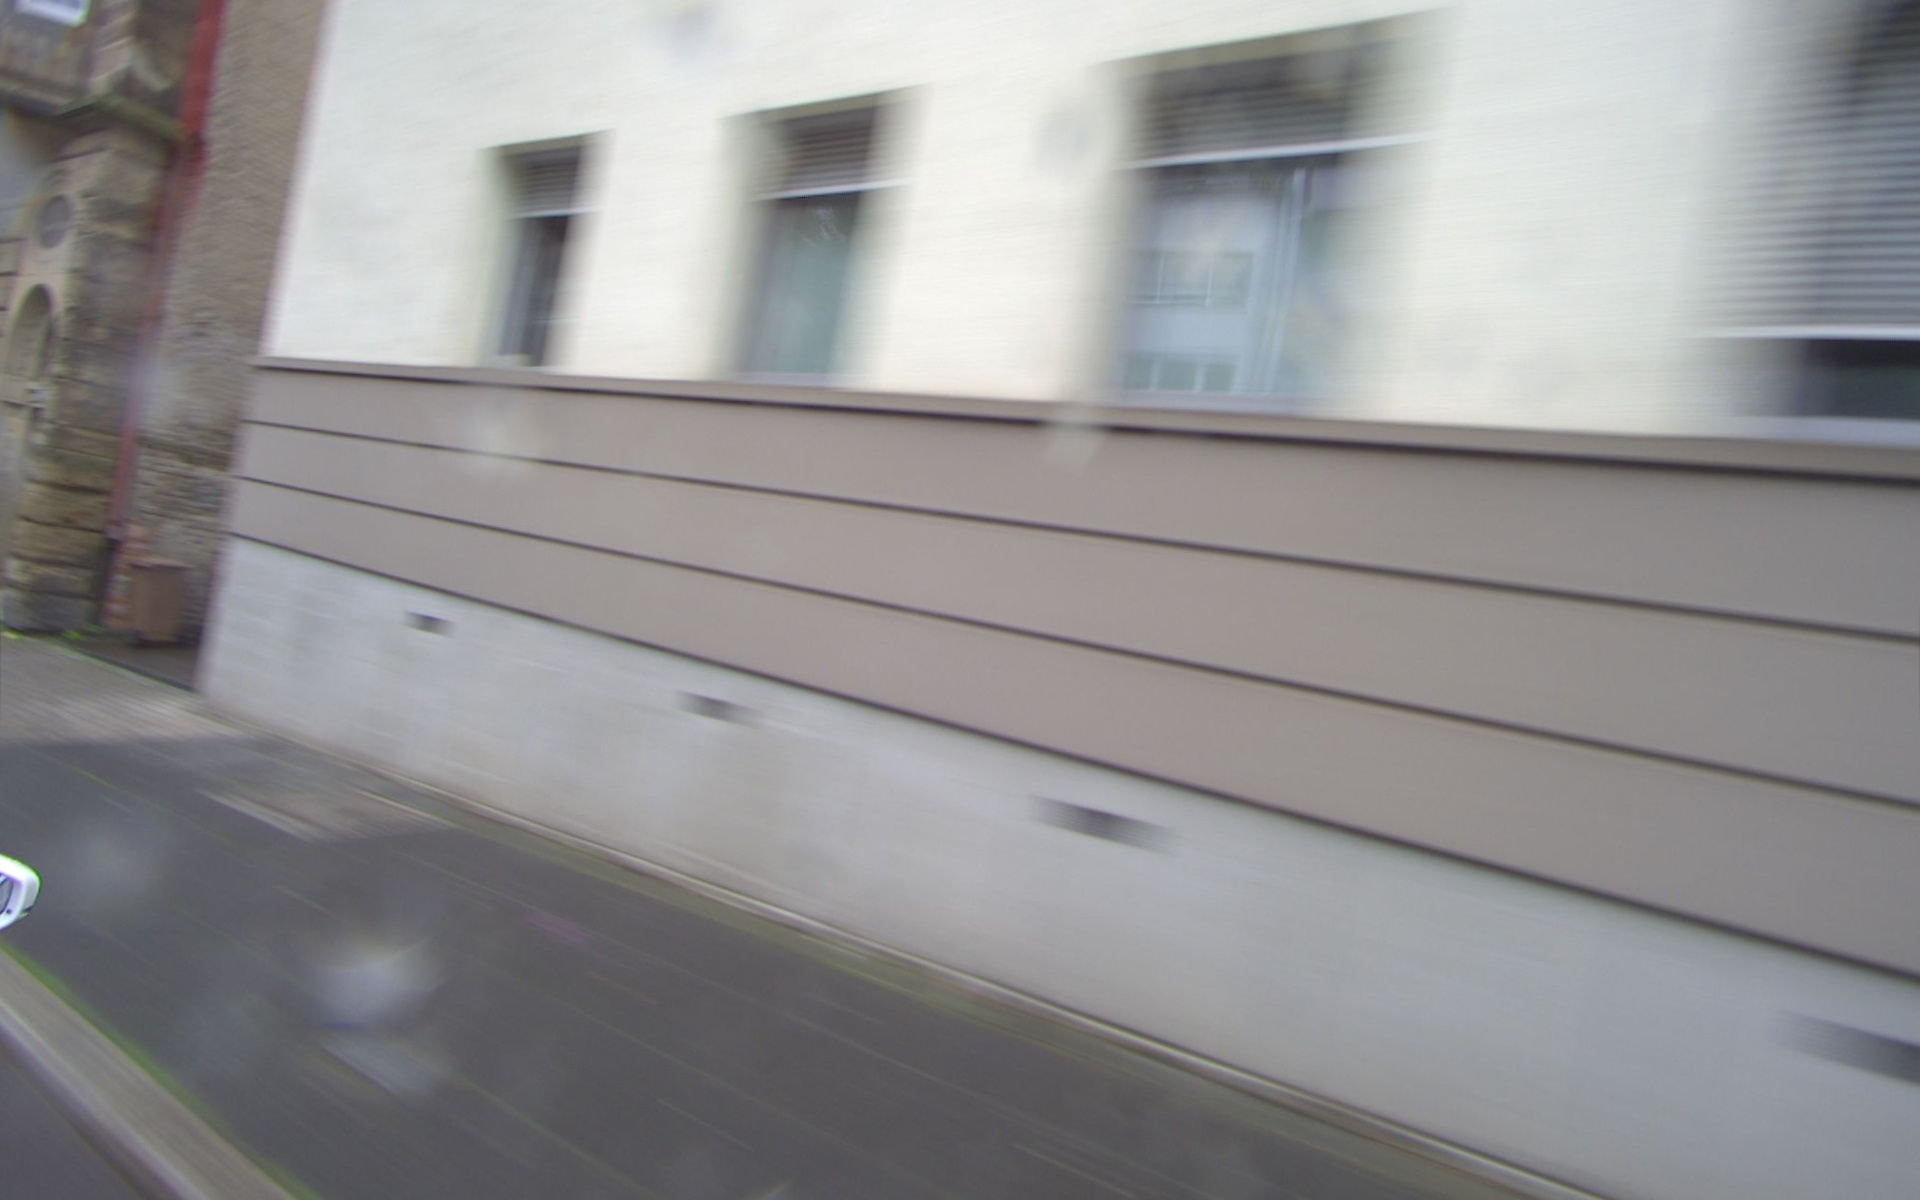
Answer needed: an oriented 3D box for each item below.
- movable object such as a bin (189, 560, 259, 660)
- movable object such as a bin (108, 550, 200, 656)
[{"bbox_3d":[-8.188,0.107,11.191,0.499,1.026,0.435,10,-2,-39],"label":"movable object such as a bin"},{"bbox_3d":[-8.480,0.037,10.595,0.468,1.026,0.502,7,-2,29],"label":"movable object such as a bin"}]
